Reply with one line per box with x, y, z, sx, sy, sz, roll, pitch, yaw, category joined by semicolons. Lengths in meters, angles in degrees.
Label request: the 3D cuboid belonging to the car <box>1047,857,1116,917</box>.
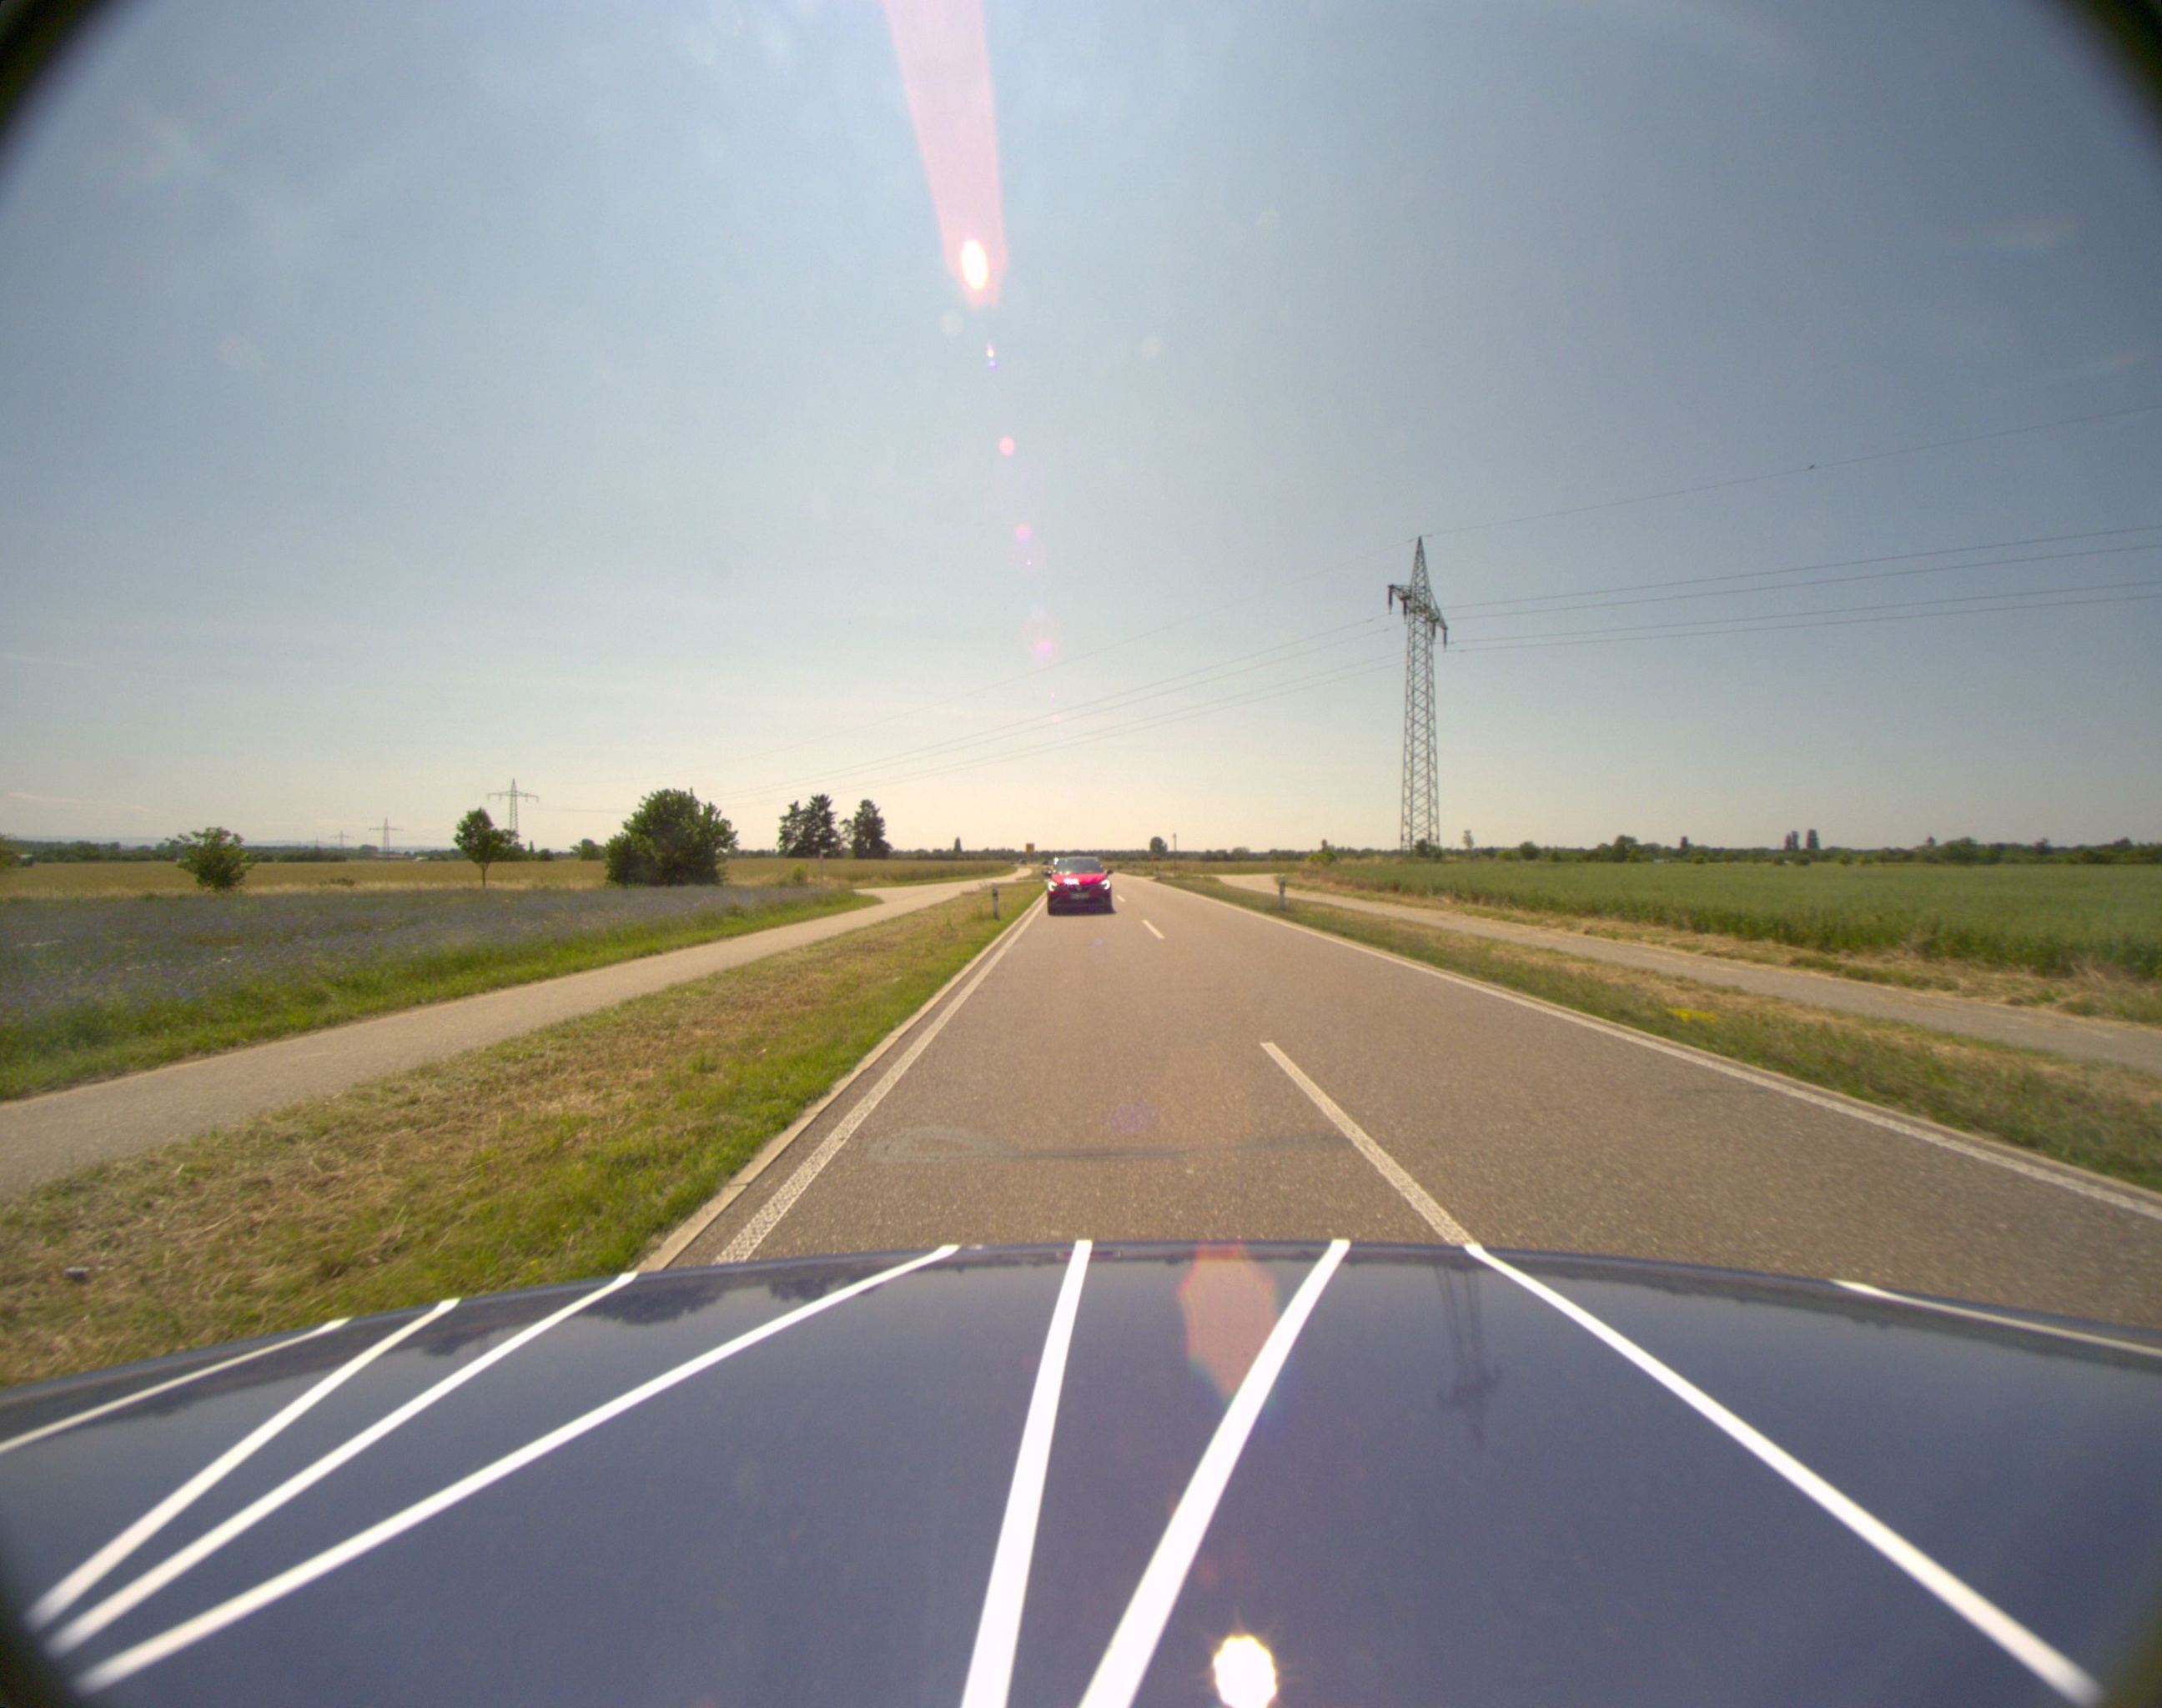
-0.058;0.898;22.717;1.827;1.543;4.448;-2;0;-2;car
